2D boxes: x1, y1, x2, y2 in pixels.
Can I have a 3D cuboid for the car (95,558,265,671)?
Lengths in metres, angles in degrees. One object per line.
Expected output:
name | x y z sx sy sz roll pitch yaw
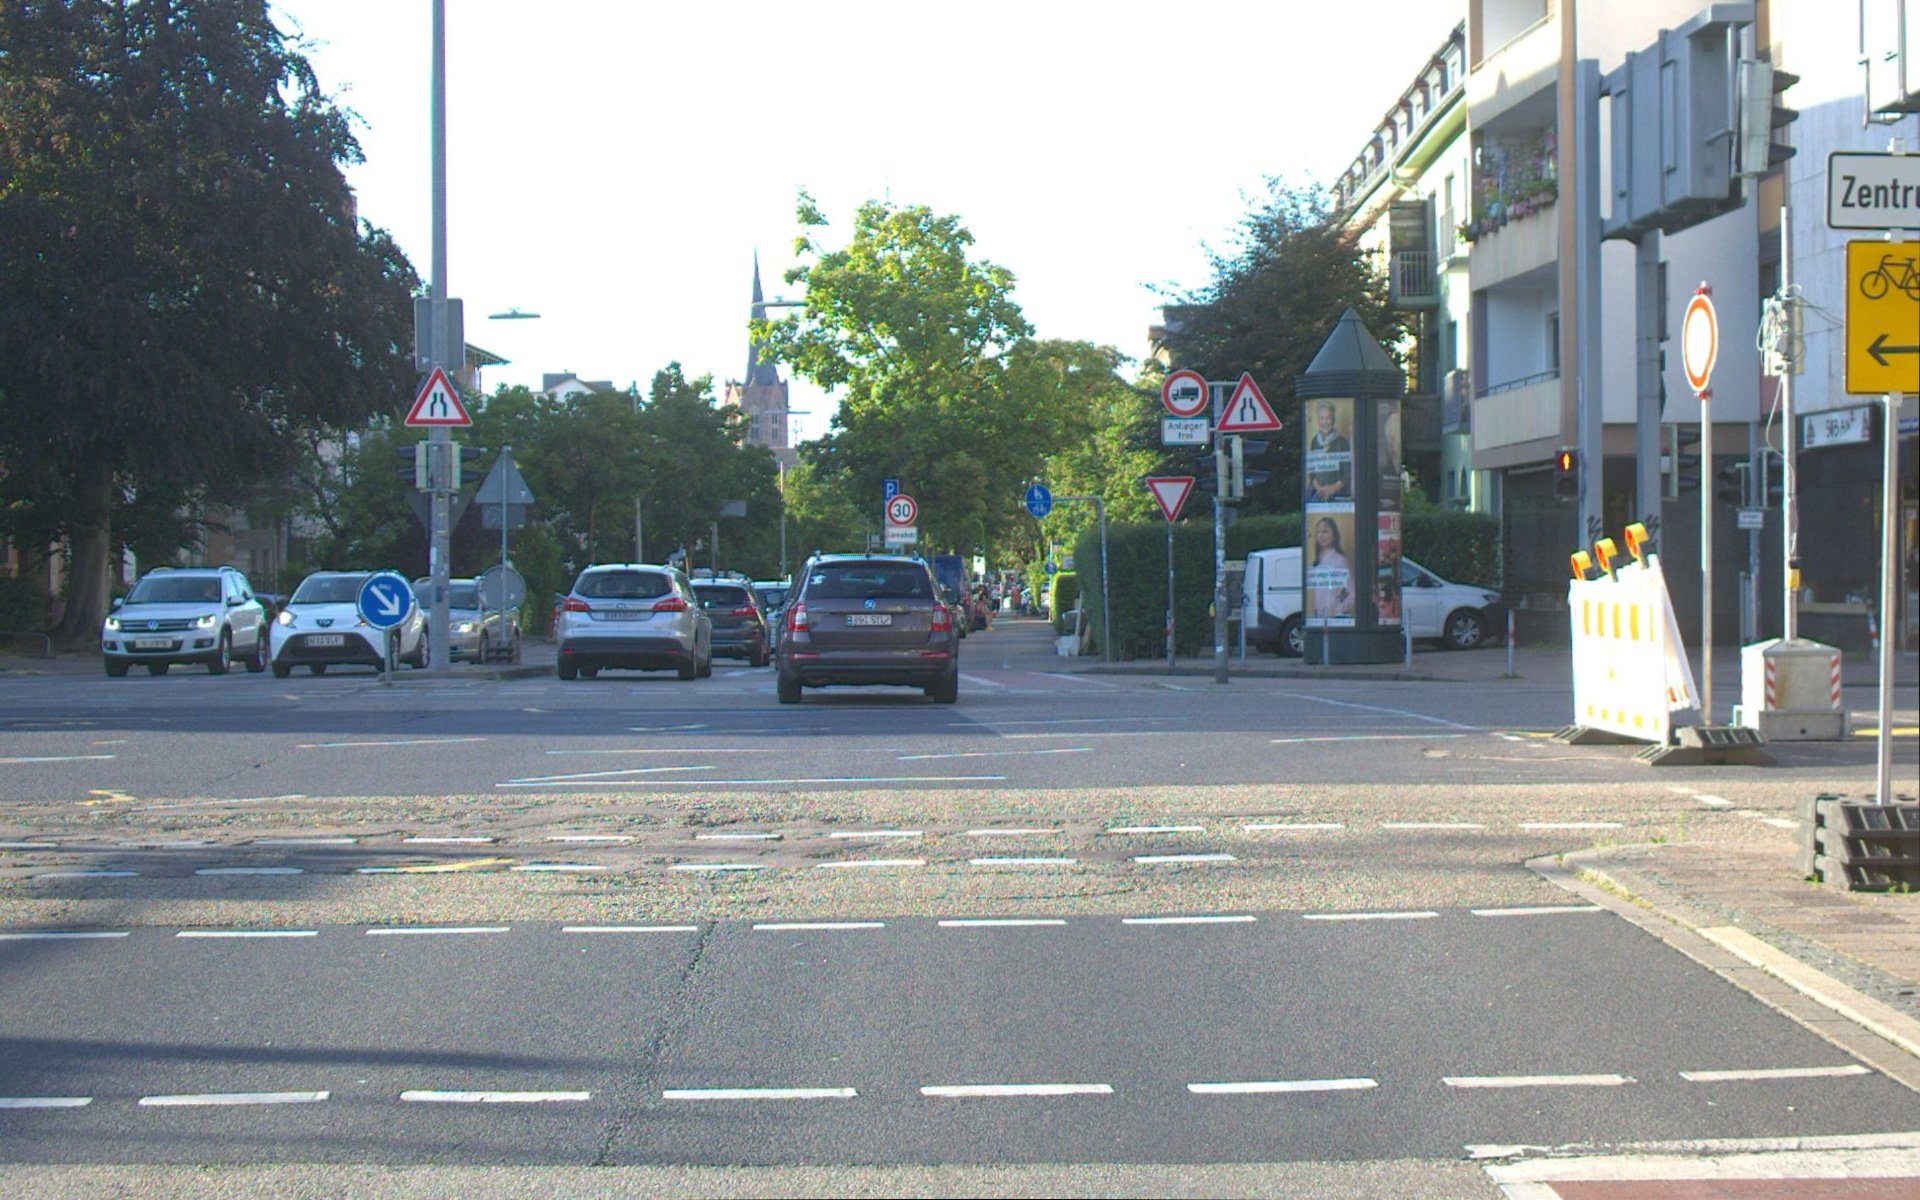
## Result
car | -11.963 0.192 52.933 1.880 1.648 4.050 -1 1 -3

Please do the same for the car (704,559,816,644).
car | -3.835 0.054 66.431 1.993 1.503 4.000 -2 -1 -1

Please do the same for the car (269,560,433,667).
car | -8.739 0.159 49.596 1.847 1.456 4.050 -1 1 -3

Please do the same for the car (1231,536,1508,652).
car | 6.830 -0.110 57.656 4.363 1.871 2.000 -1 1 -2

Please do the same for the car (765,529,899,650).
car | -1.799 -0.171 48.919 1.819 1.634 4.000 -1 1 -1

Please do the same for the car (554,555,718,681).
car | -4.179 0.199 44.862 1.748 1.559 4.050 -1 1 0

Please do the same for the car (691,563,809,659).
car | -3.544 0.162 58.573 1.748 1.559 4.050 -1 1 0

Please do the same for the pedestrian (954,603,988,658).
pedestrian | 0.396 1.131 128.463 1.209 2.007 1.422 -1 0 -2

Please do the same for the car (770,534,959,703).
car | -0.888 0.143 34.004 1.748 1.559 4.050 -1 1 0

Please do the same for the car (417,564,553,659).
car | -7.660 0.157 55.772 1.847 1.456 4.050 -1 1 -3
